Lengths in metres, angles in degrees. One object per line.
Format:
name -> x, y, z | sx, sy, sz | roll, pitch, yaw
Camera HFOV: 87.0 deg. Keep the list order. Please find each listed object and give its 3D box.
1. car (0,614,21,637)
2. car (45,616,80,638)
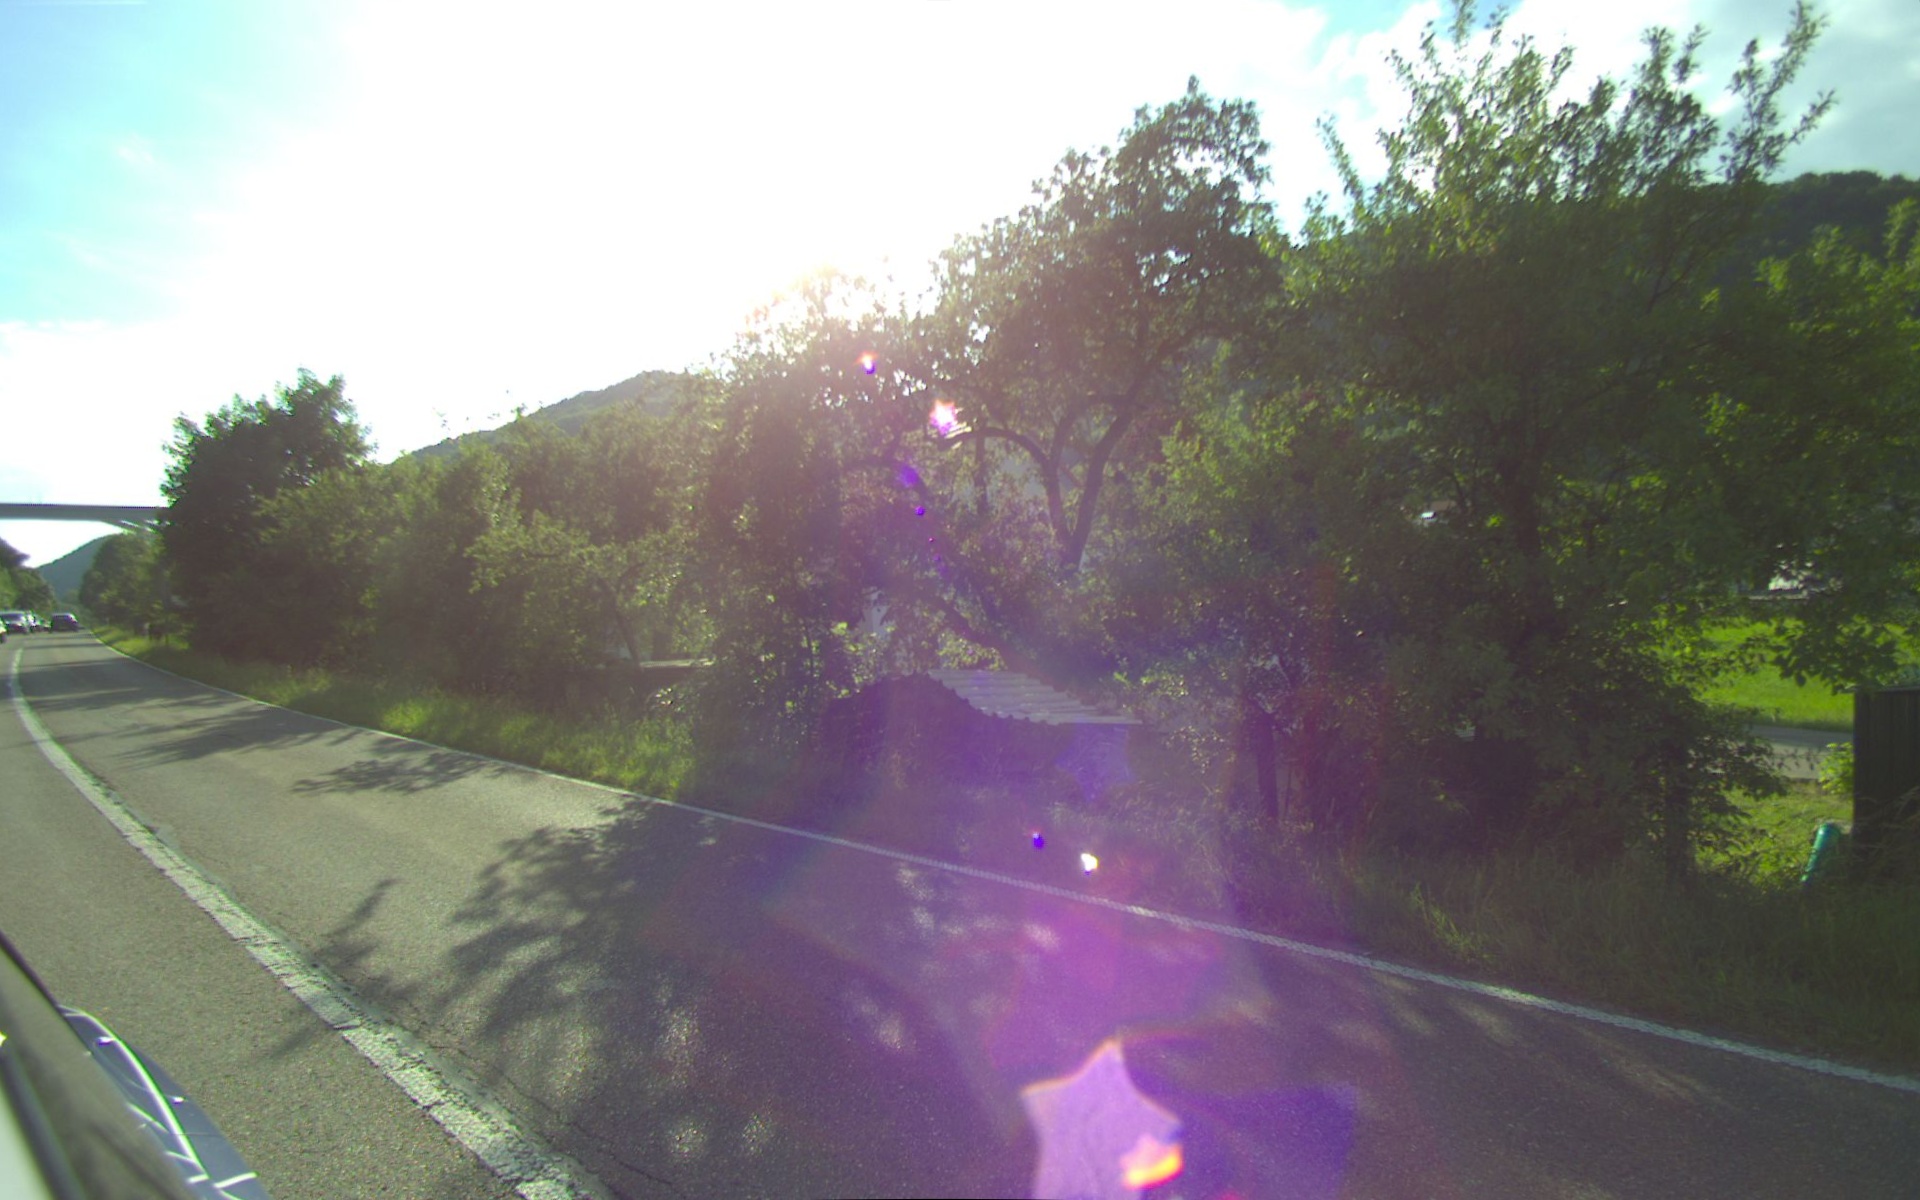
car -> -69.725, 1.858, 73.642 | 1.791, 1.630, 4.007 | 1, -2, -40
car -> -67.667, 2.006, 76.311 | 1.793, 1.630, 3.809 | 1, -2, -44
